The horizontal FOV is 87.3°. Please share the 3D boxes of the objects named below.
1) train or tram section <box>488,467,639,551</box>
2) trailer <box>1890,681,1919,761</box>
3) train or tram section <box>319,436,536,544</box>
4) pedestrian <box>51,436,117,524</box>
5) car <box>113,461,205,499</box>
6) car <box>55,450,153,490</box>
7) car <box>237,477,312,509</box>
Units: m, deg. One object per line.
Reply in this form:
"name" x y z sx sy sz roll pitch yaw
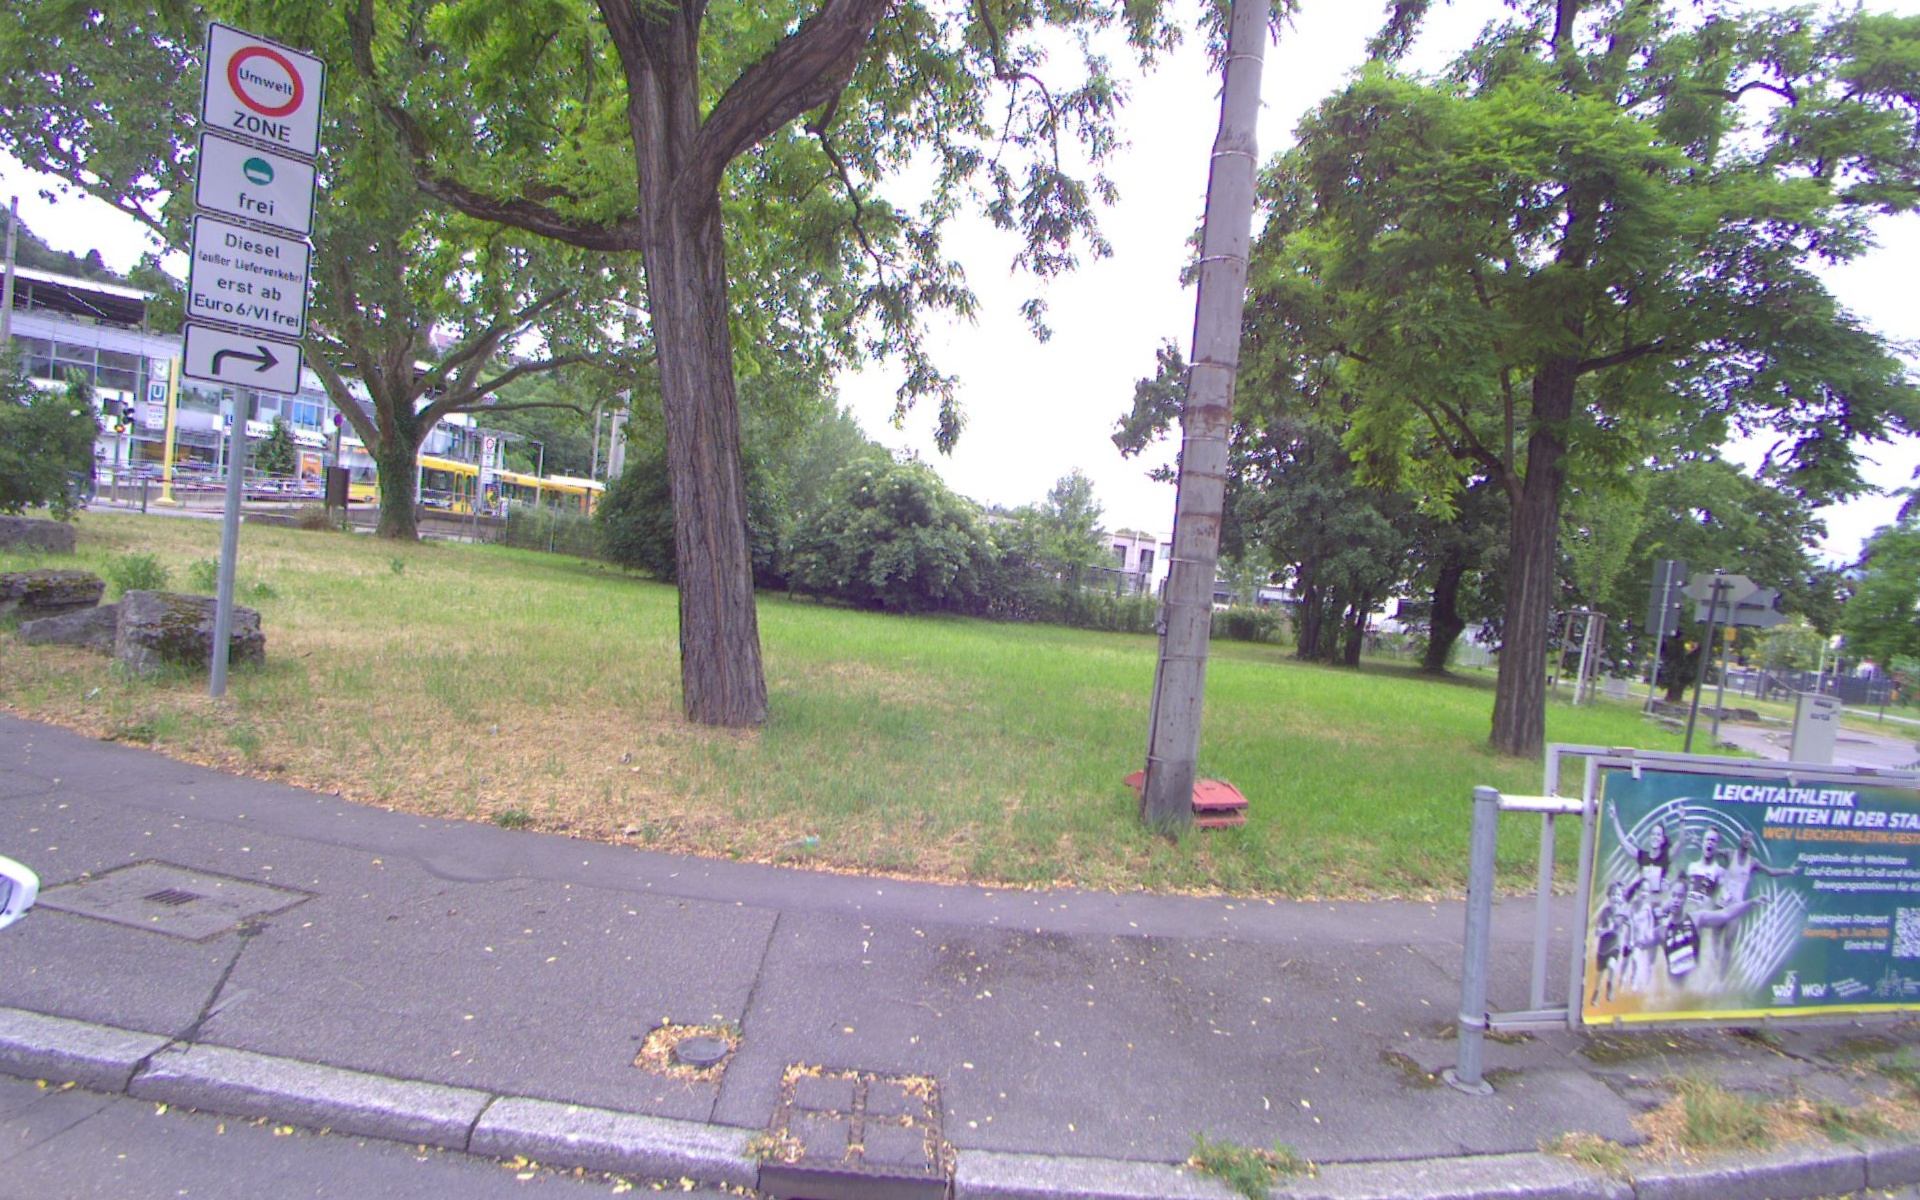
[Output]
"train or tram section" -24.149 -5.413 62.343 2.697 4.019 11.904 7 2 9
"trailer" 32.036 4.013 32.507 2.118 2.418 5.365 9 2 38
"train or tram section" -26.186 -5.227 50.582 2.697 4.019 11.904 7 2 9
"pedestrian" -18.685 -2.549 21.458 0.593 1.709 0.672 7 -1 10
"car" -47.484 -7.104 59.662 3.924 1.575 1.926 7 3 5
"car" -47.951 -7.296 56.422 3.924 1.575 1.926 7 3 5
"car" -45.789 -7.148 67.224 3.924 1.575 1.926 7 3 14
